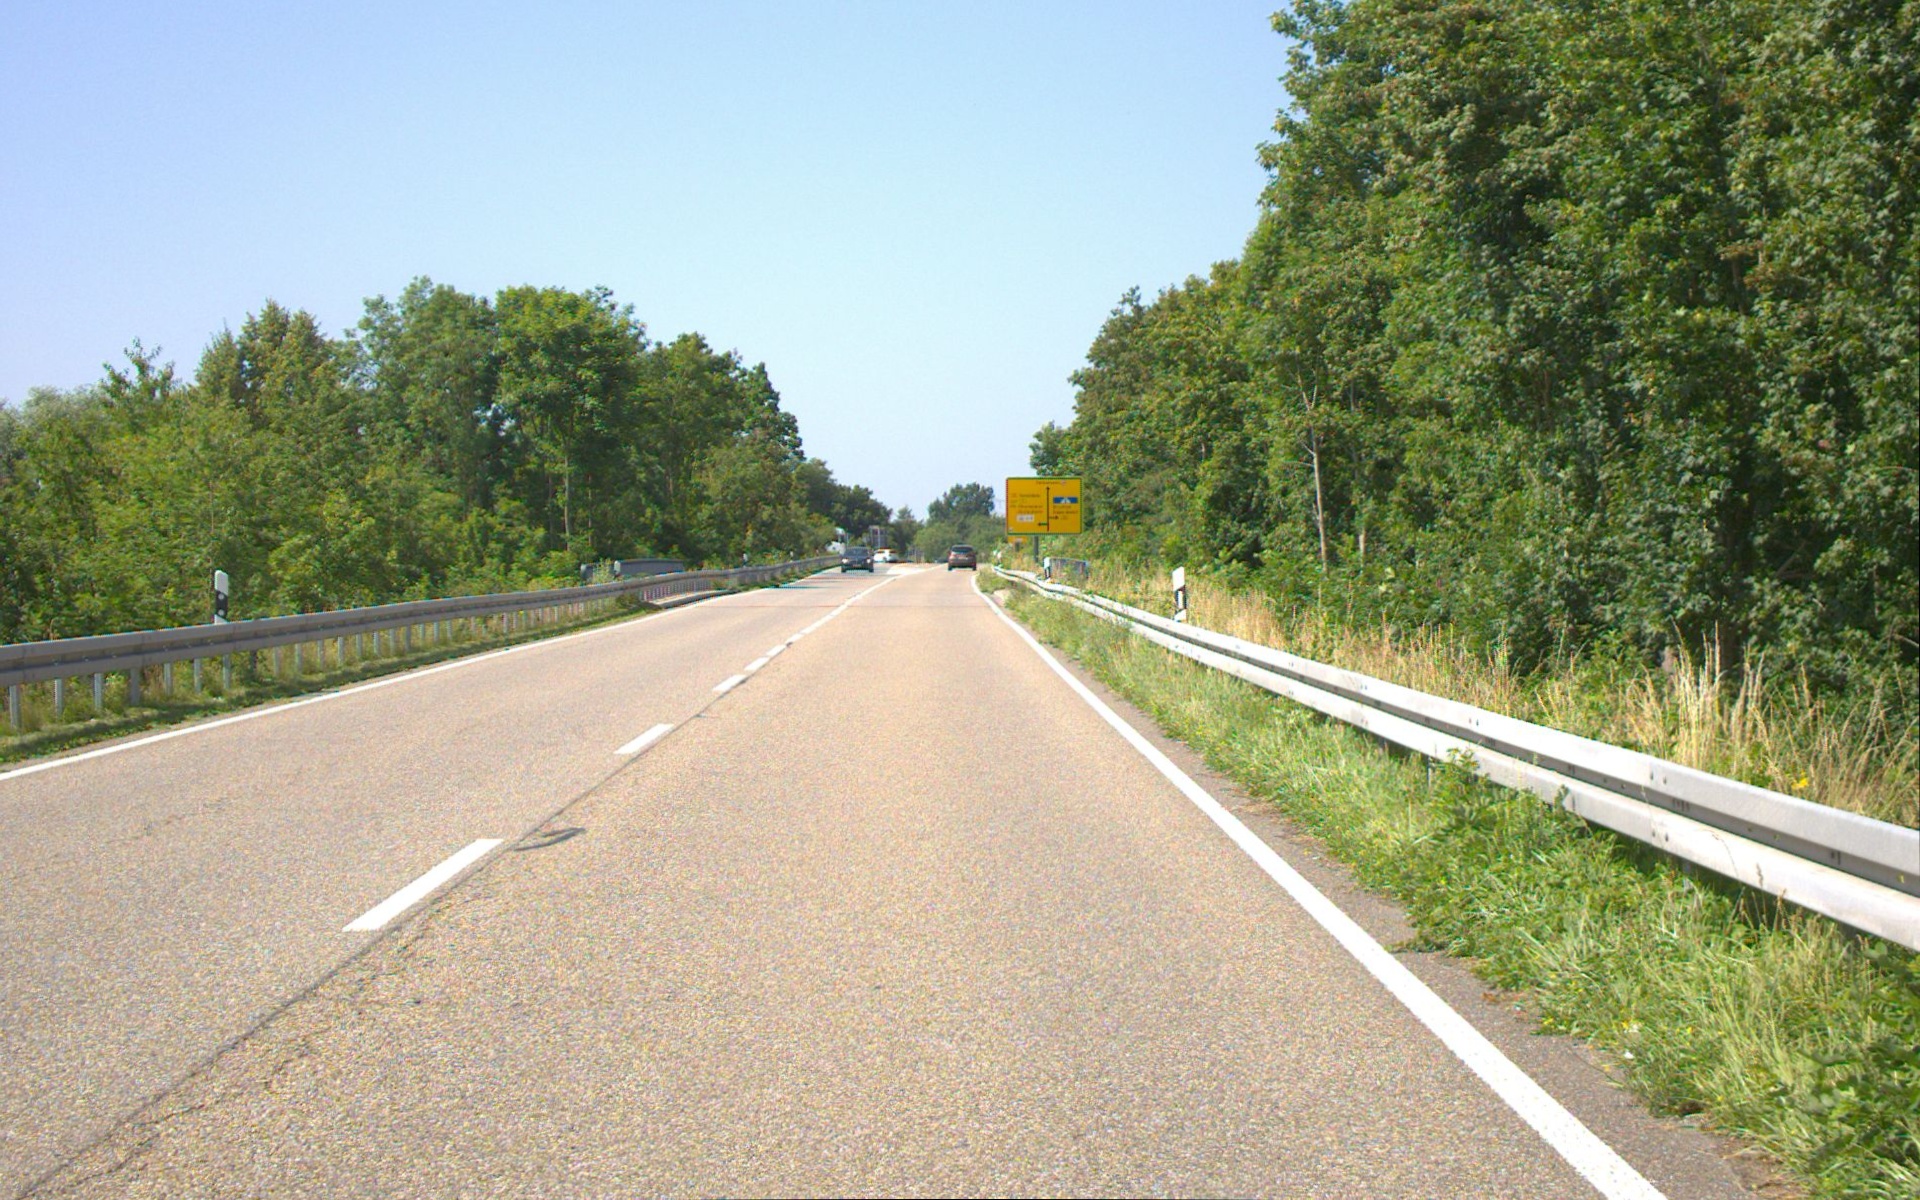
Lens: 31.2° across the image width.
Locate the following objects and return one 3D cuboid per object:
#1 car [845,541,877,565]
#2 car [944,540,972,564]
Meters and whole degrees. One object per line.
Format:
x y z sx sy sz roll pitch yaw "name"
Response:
-5.787 -2.746 200.961 1.746 1.420 4.677 0 1 0 "car"
-0.119 -2.961 213.787 1.741 1.465 3.692 0 1 1 "car"
